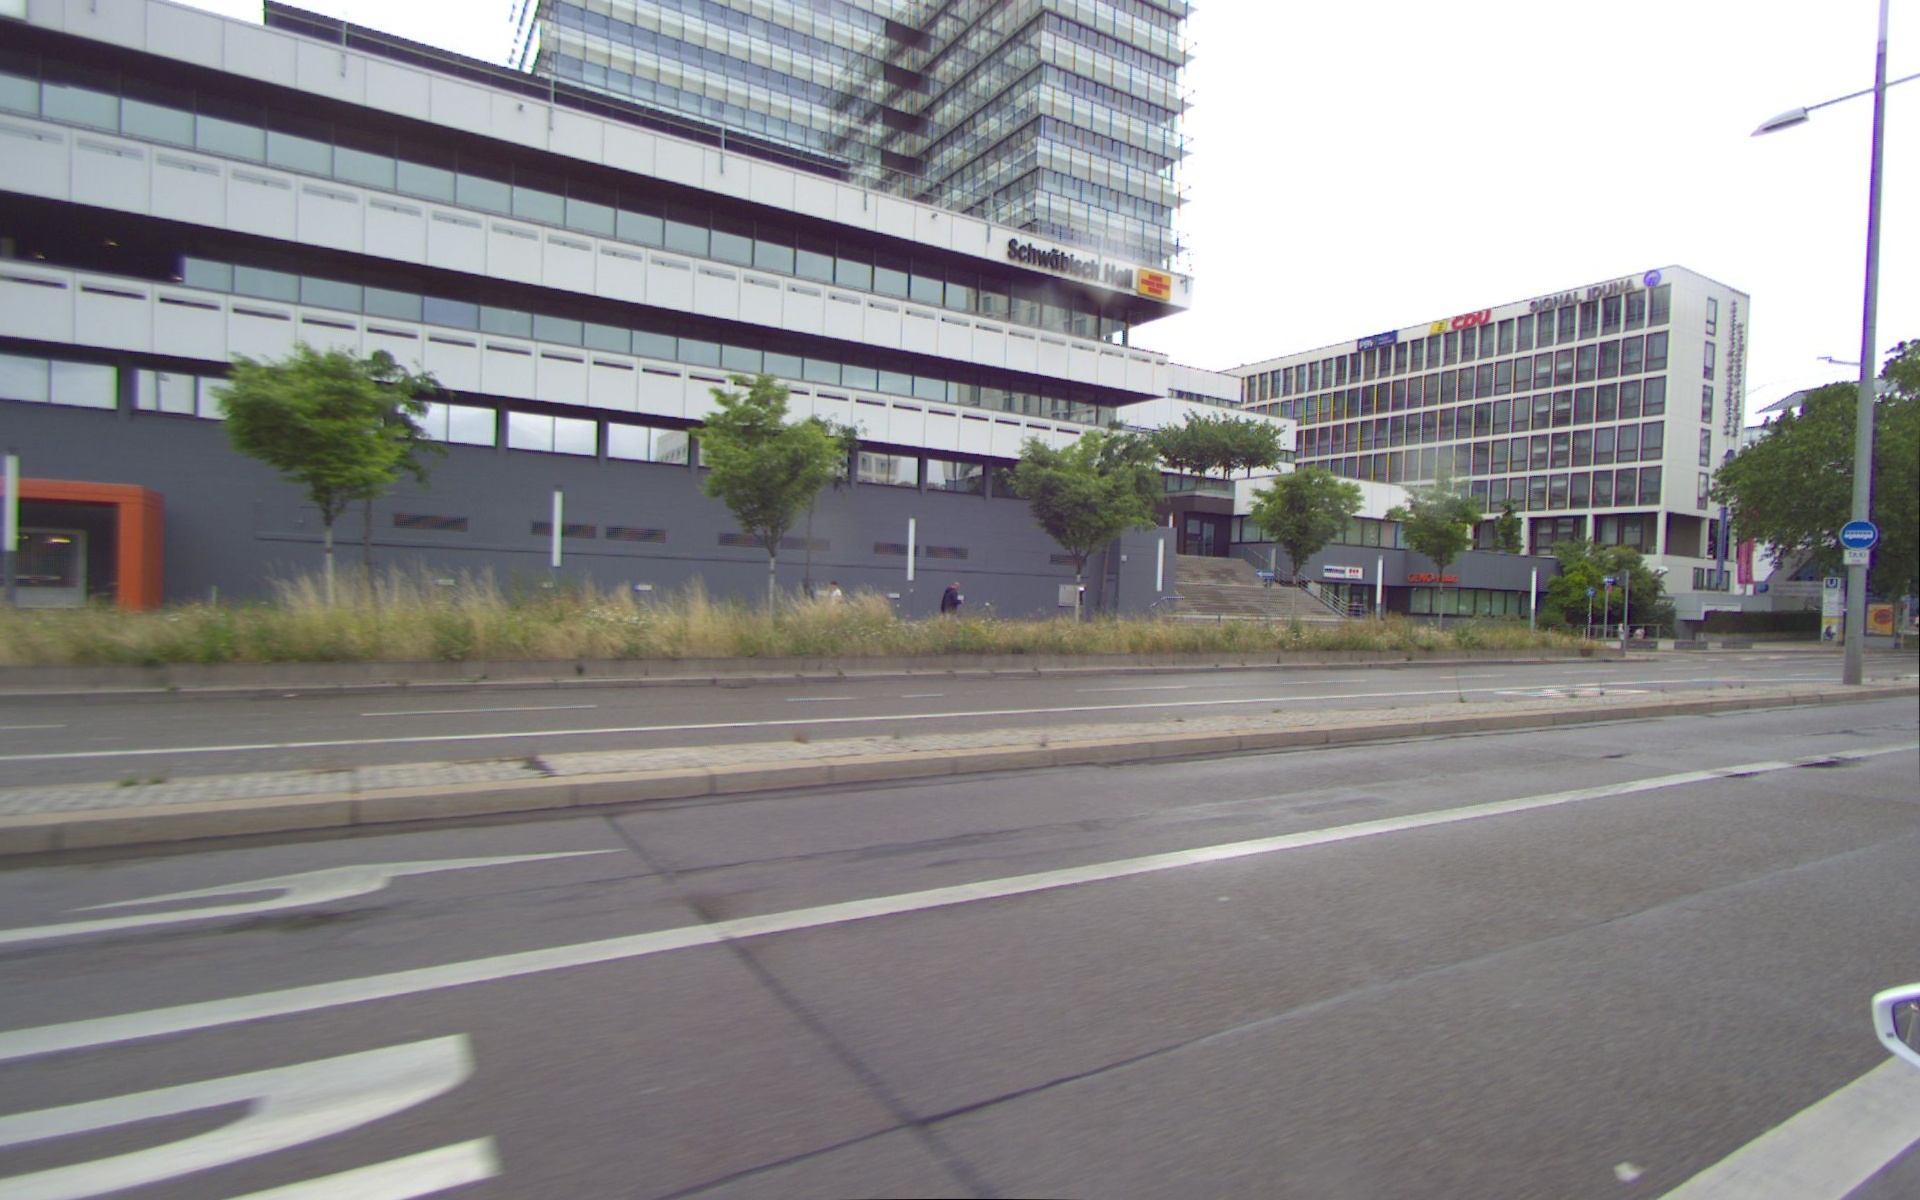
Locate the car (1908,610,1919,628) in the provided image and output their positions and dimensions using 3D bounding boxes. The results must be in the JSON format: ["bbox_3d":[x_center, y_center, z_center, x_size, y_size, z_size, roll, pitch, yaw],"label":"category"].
[{"bbox_3d":[87.573,1.712,89.321,1.863,1.653,4.503,2,-1,-15],"label":"car"}]

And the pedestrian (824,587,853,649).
[{"bbox_3d":[-3.638,0.528,30.060,0.621,1.832,0.626,2,0,-30],"label":"pedestrian"}]

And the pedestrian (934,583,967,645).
[{"bbox_3d":[-0.292,0.429,30.533,0.621,1.832,0.780,2,-1,-30],"label":"pedestrian"}]
